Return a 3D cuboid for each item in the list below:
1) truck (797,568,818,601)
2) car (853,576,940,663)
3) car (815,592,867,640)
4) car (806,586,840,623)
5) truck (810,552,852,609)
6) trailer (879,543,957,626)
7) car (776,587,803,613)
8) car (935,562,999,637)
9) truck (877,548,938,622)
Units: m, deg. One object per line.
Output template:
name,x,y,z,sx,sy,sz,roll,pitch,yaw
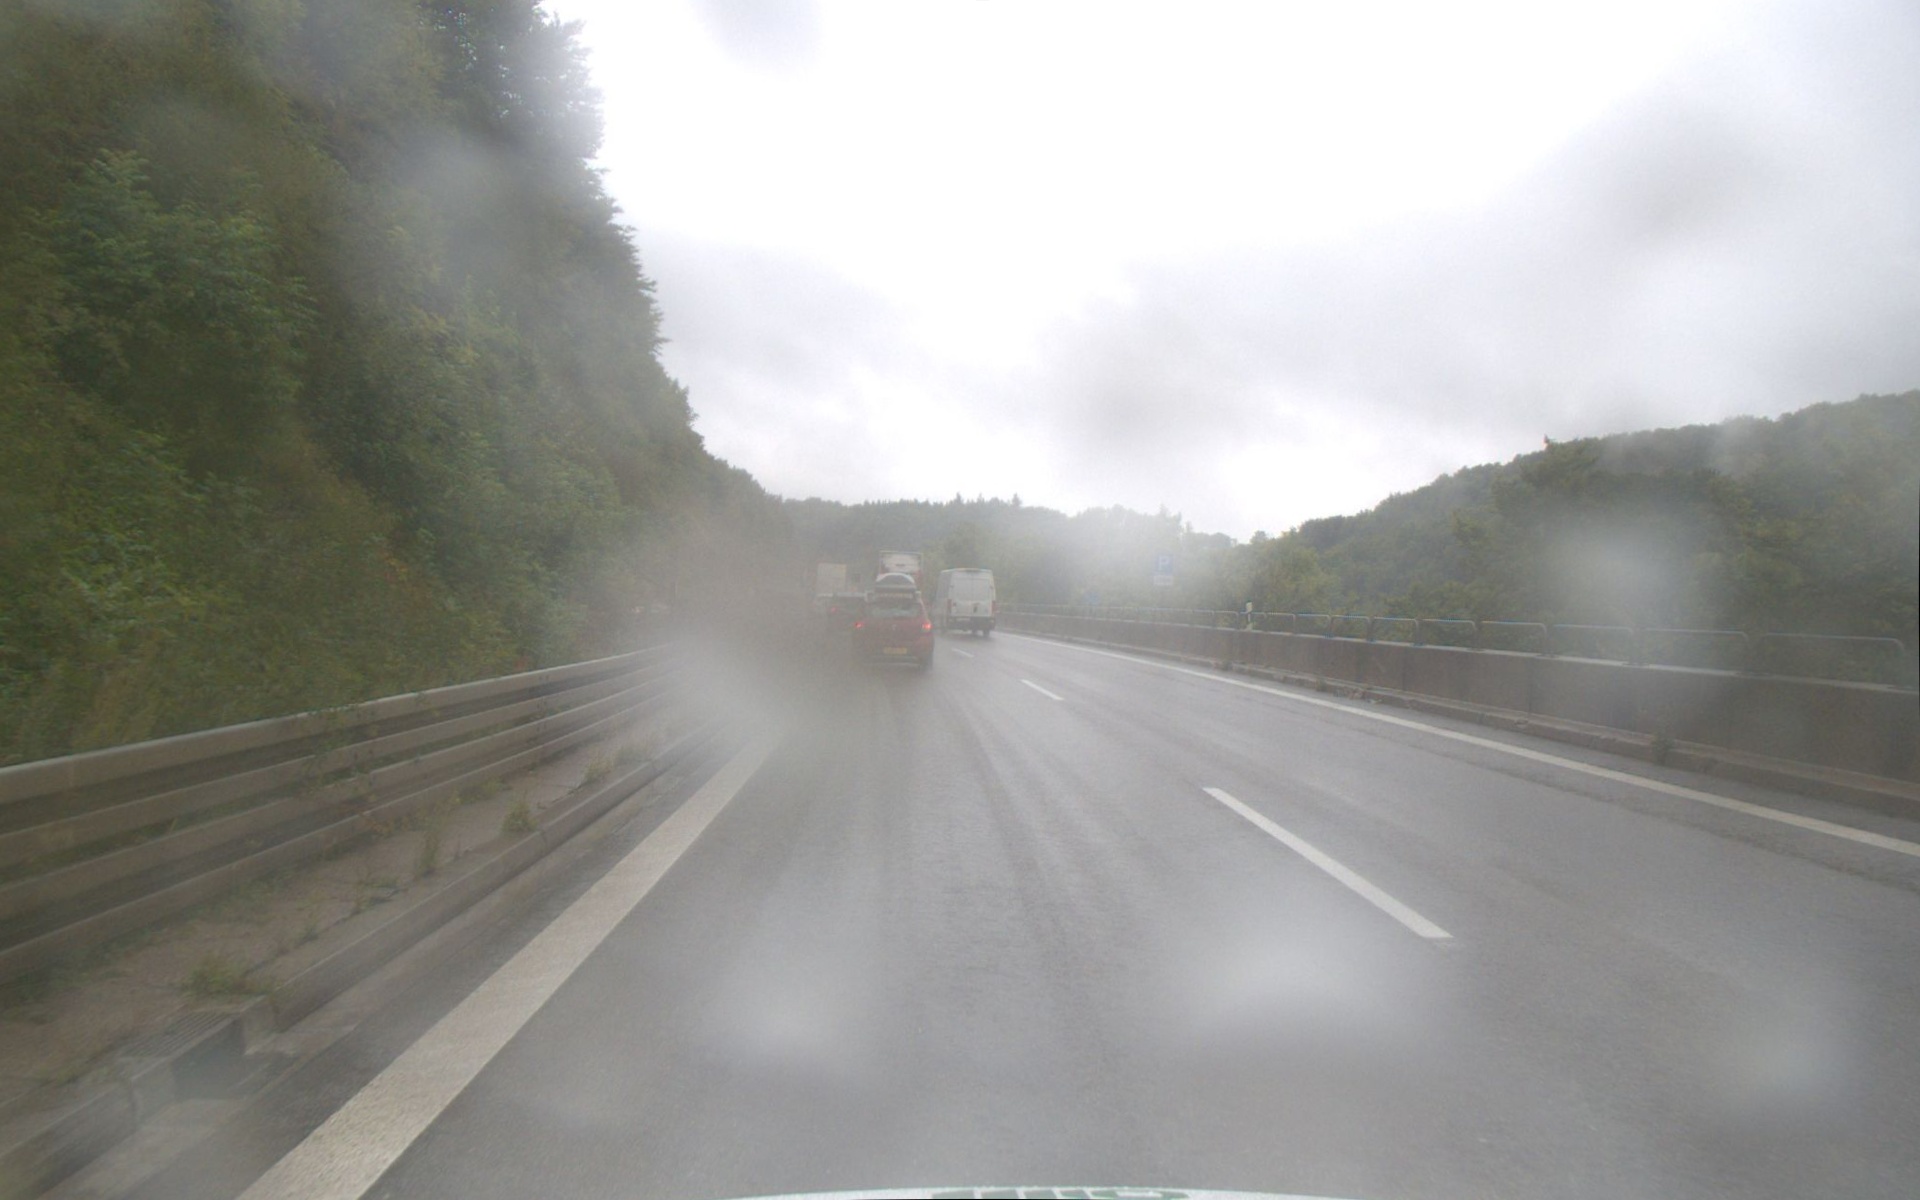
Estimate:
truck,-16.686,-1.637,180.475,2.065,3.480,6.213,1,0,-7
car,-1.337,0.407,35.102,1.723,1.714,3.998,1,0,-2
car,-4.386,0.564,61.485,1.786,1.726,3.998,0,0,-3
car,-7.120,0.229,85.608,1.683,1.849,3.887,1,0,-6
truck,-11.327,-1.635,144.451,3.162,4.764,8.285,1,0,-8
trailer,-2.397,-0.764,87.830,3.156,4.069,13.506,0,0,-6
car,-13.695,0.001,132.956,1.954,2.049,3.997,1,0,-4
car,0.218,-0.016,66.895,2.162,2.843,7.377,0,0,-3
truck,-3.051,-0.838,94.517,3.157,4.047,5.432,0,0,-6
